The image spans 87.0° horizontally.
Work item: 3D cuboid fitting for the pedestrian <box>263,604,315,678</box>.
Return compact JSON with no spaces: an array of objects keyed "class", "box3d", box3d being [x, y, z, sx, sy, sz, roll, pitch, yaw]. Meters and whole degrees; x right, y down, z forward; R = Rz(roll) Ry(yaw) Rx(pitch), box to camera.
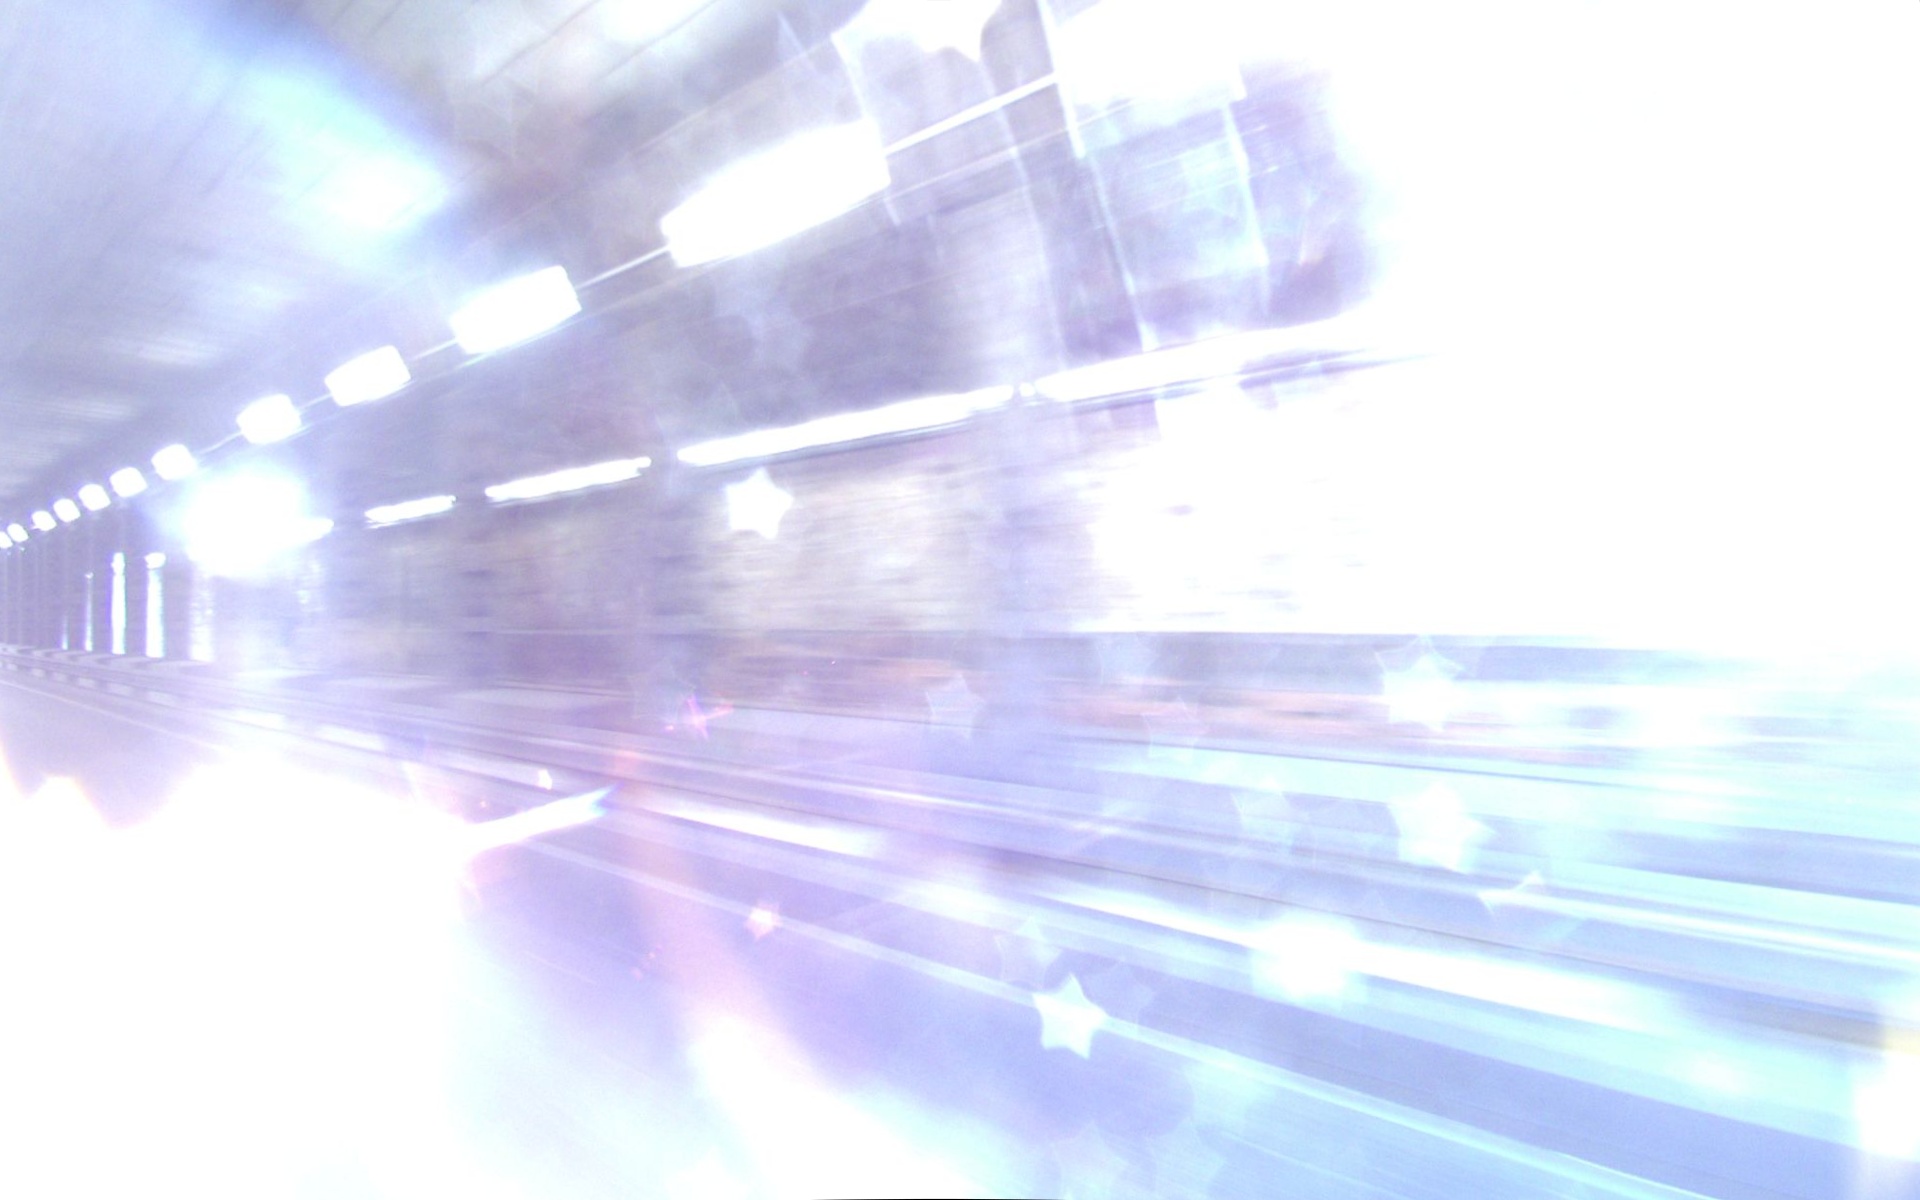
[{"class":"pedestrian","box3d":[-19.305,1.146,29.108,1.355,2.071,0.948,0,0,42]}]
